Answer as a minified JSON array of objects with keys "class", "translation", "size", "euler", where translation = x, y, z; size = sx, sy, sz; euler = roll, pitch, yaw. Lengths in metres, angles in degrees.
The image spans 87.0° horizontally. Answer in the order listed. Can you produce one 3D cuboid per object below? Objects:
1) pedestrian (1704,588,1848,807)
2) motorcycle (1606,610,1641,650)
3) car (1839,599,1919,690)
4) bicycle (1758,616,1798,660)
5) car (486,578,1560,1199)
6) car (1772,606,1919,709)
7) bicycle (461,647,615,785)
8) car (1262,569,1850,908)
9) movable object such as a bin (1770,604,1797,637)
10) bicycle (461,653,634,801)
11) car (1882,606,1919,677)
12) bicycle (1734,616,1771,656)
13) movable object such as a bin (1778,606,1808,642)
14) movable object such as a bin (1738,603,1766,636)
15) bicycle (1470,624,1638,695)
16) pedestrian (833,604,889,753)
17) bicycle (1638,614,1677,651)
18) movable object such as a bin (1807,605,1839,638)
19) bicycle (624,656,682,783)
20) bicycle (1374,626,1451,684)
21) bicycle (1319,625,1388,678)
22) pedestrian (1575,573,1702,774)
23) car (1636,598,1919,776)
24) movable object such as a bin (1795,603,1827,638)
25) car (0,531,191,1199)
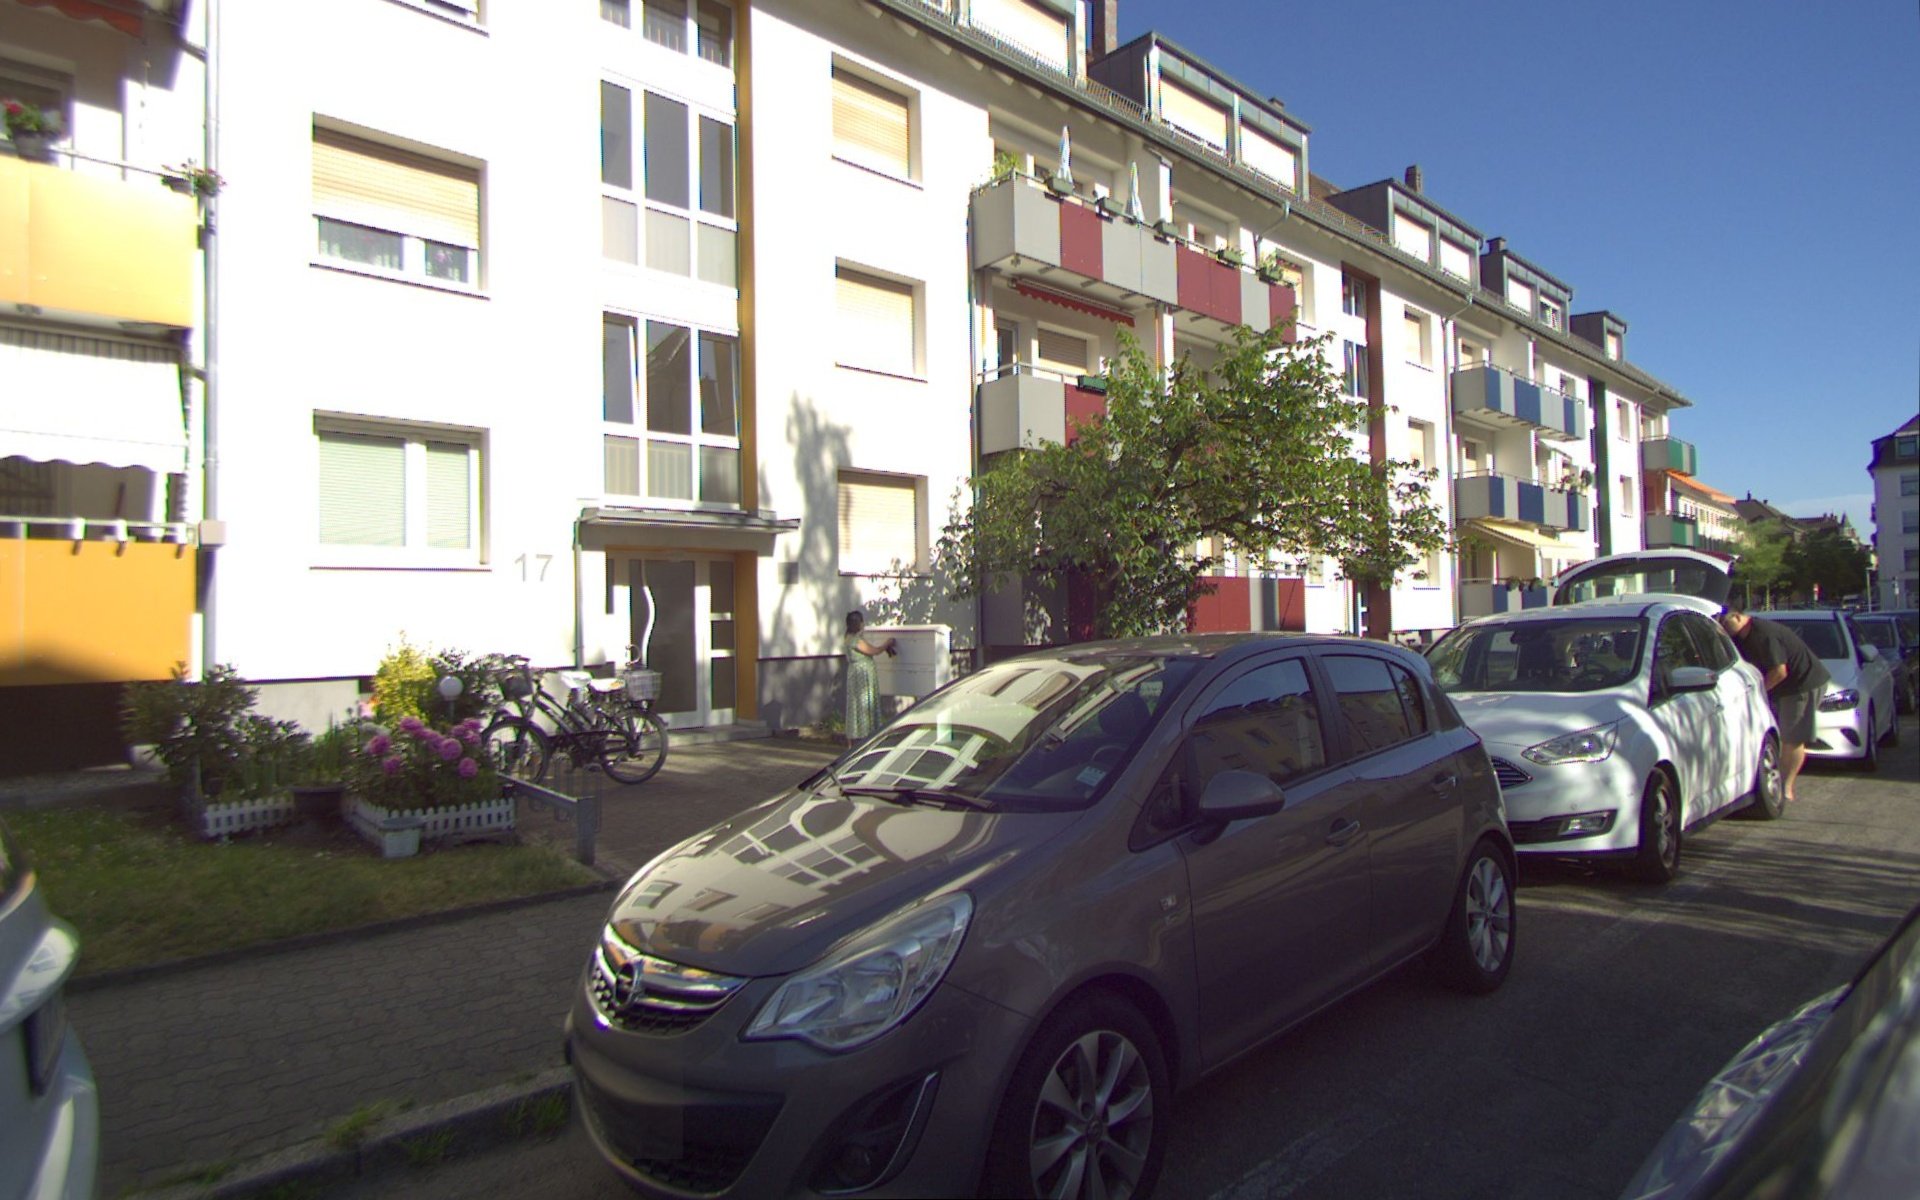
[{"class":"pedestrian","translation":[6.409,0.711,7.950],"size":[0.864,1.595,0.740],"euler":[1,-1,-41]},{"class":"motorcycle","translation":[21.406,0.956,32.655],"size":[1.942,1.254,0.441],"euler":[0,-1,-42]},{"class":"car","translation":[18.399,0.792,19.488],"size":[4.278,1.598,1.725],"euler":[0,-1,-42]},{"class":"bicycle","translation":[23.350,1.057,28.882],"size":[1.840,1.185,0.545],"euler":[0,0,-40]},{"class":"car","translation":[0.580,0.774,3.747],"size":[3.916,1.511,1.695],"euler":[0,-4,-42]},{"class":"car","translation":[14.790,0.867,16.402],"size":[3.987,1.468,1.649],"euler":[0,-3,-39]},{"class":"bicycle","translation":[-3.861,1.027,9.312],"size":[1.250,1.147,0.403],"euler":[1,-2,-41]},{"class":"car","translation":[4.477,0.728,7.240],"size":[4.905,1.634,1.997],"euler":[0,-4,-39]},{"class":"movable object such as a bin","translation":[37.020,0.911,45.488],"size":[0.864,1.466,0.907],"euler":[-1,-1,45]},{"class":"bicycle","translation":[-3.436,1.023,8.483],"size":[1.276,1.100,0.404],"euler":[1,-1,-41]},{"class":"car","translation":[22.332,0.869,22.903],"size":[3.787,1.529,1.714],"euler":[0,-5,-42]},{"class":"bicycle","translation":[23.435,1.044,29.912],"size":[1.841,1.147,0.578],"euler":[0,0,-42]},{"class":"movable object such as a bin","translation":[34.649,0.999,42.091],"size":[0.864,1.466,0.907],"euler":[-1,-1,45]},{"class":"movable object such as a bin","translation":[36.187,0.882,46.233],"size":[0.864,1.466,0.907],"euler":[-1,-1,45]},{"class":"bicycle","translation":[10.518,1.008,18.026],"size":[0.862,1.144,2.431],"euler":[0,-1,-35]},{"class":"pedestrian","translation":[-1.042,0.804,10.633],"size":[0.354,1.514,0.451],"euler":[-1,0,-40]},{"class":"bicycle","translation":[21.924,1.003,31.777],"size":[1.841,1.130,0.597],"euler":[0,-1,-42]},{"class":"movable object such as a bin","translation":[37.777,0.921,44.302],"size":[0.852,1.416,0.920],"euler":[1,-2,-43]},{"class":"bicycle","translation":[-2.752,1.045,9.056],"size":[0.234,1.060,0.742],"euler":[1,-1,-38]},{"class":"bicycle","translation":[9.110,1.071,20.337],"size":[2.248,1.062,0.521],"euler":[0,0,-41]},{"class":"bicycle","translation":[8.350,1.064,21.424],"size":[1.940,1.050,0.521],"euler":[0,-1,-41]},{"class":"pedestrian","translation":[6.099,0.624,9.111],"size":[0.594,1.709,0.820],"euler":[1,-1,-41]},{"class":"car","translation":[8.889,0.781,10.828],"size":[4.405,1.524,1.773],"euler":[0,-3,-43]},{"class":"movable object such as a bin","translation":[35.938,0.874,42.719],"size":[0.852,1.466,0.920],"euler":[1,-2,-43]},{"class":"car","translation":[-2.561,0.738,0.965],"size":[2.886,1.549,1.483],"euler":[0,-4,-37]}]
